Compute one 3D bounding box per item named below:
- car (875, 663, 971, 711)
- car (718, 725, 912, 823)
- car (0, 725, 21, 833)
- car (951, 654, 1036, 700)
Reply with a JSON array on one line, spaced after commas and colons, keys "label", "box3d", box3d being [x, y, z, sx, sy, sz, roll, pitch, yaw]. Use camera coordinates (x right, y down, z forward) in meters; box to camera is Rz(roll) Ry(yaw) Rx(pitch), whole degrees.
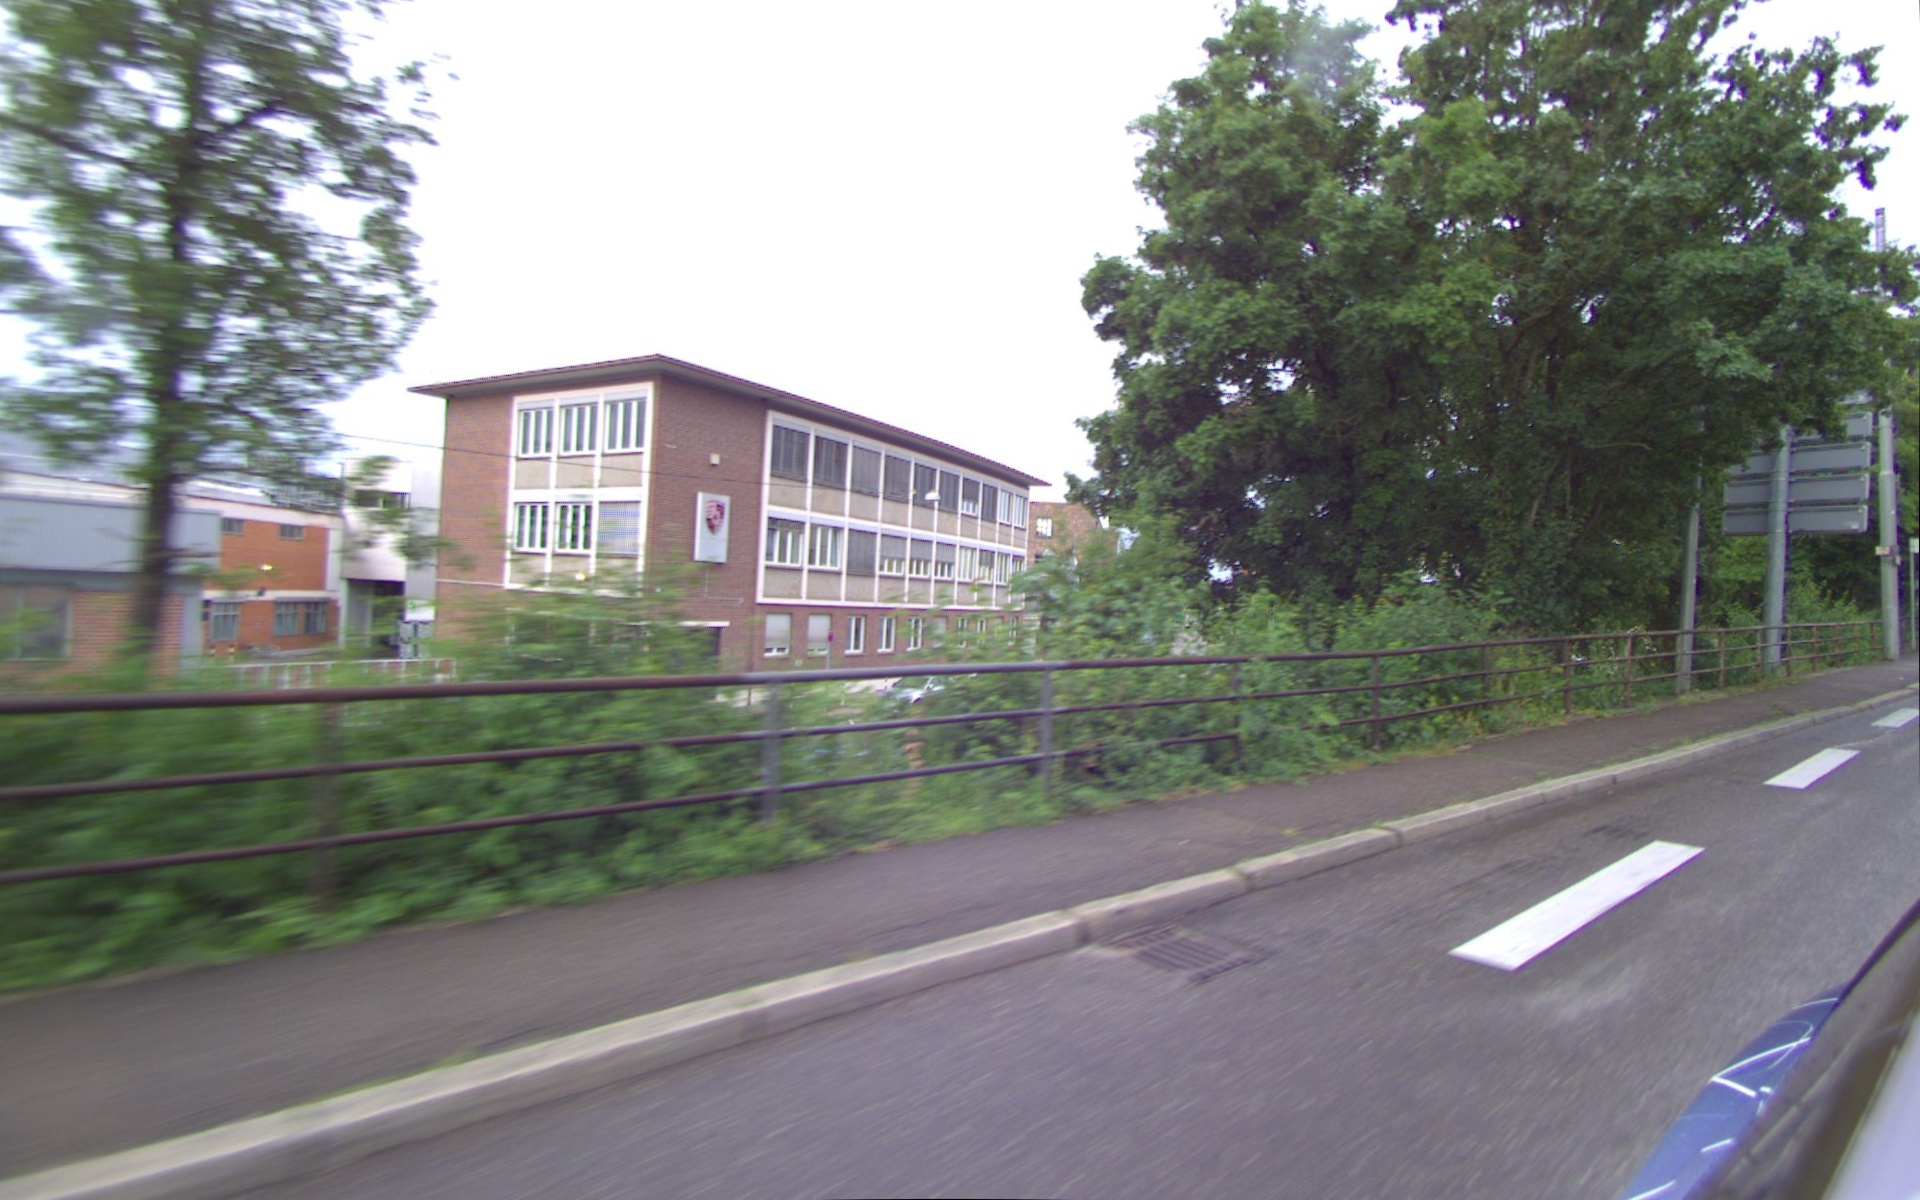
[{"label": "car", "box3d": [-1.328, 3.242, 38.305, 1.656, 1.413, 3.952, 2, 0, 33]}, {"label": "car", "box3d": [-2.580, 2.908, 17.437, 1.524, 1.323, 3.554, 0, -5, -43]}, {"label": "car", "box3d": [-16.930, 2.917, 15.294, 1.695, 1.505, 3.803, 2, 1, 38]}, {"label": "car", "box3d": [1.481, 3.180, 42.530, 1.732, 1.544, 4.405, 1, 1, 29]}]
